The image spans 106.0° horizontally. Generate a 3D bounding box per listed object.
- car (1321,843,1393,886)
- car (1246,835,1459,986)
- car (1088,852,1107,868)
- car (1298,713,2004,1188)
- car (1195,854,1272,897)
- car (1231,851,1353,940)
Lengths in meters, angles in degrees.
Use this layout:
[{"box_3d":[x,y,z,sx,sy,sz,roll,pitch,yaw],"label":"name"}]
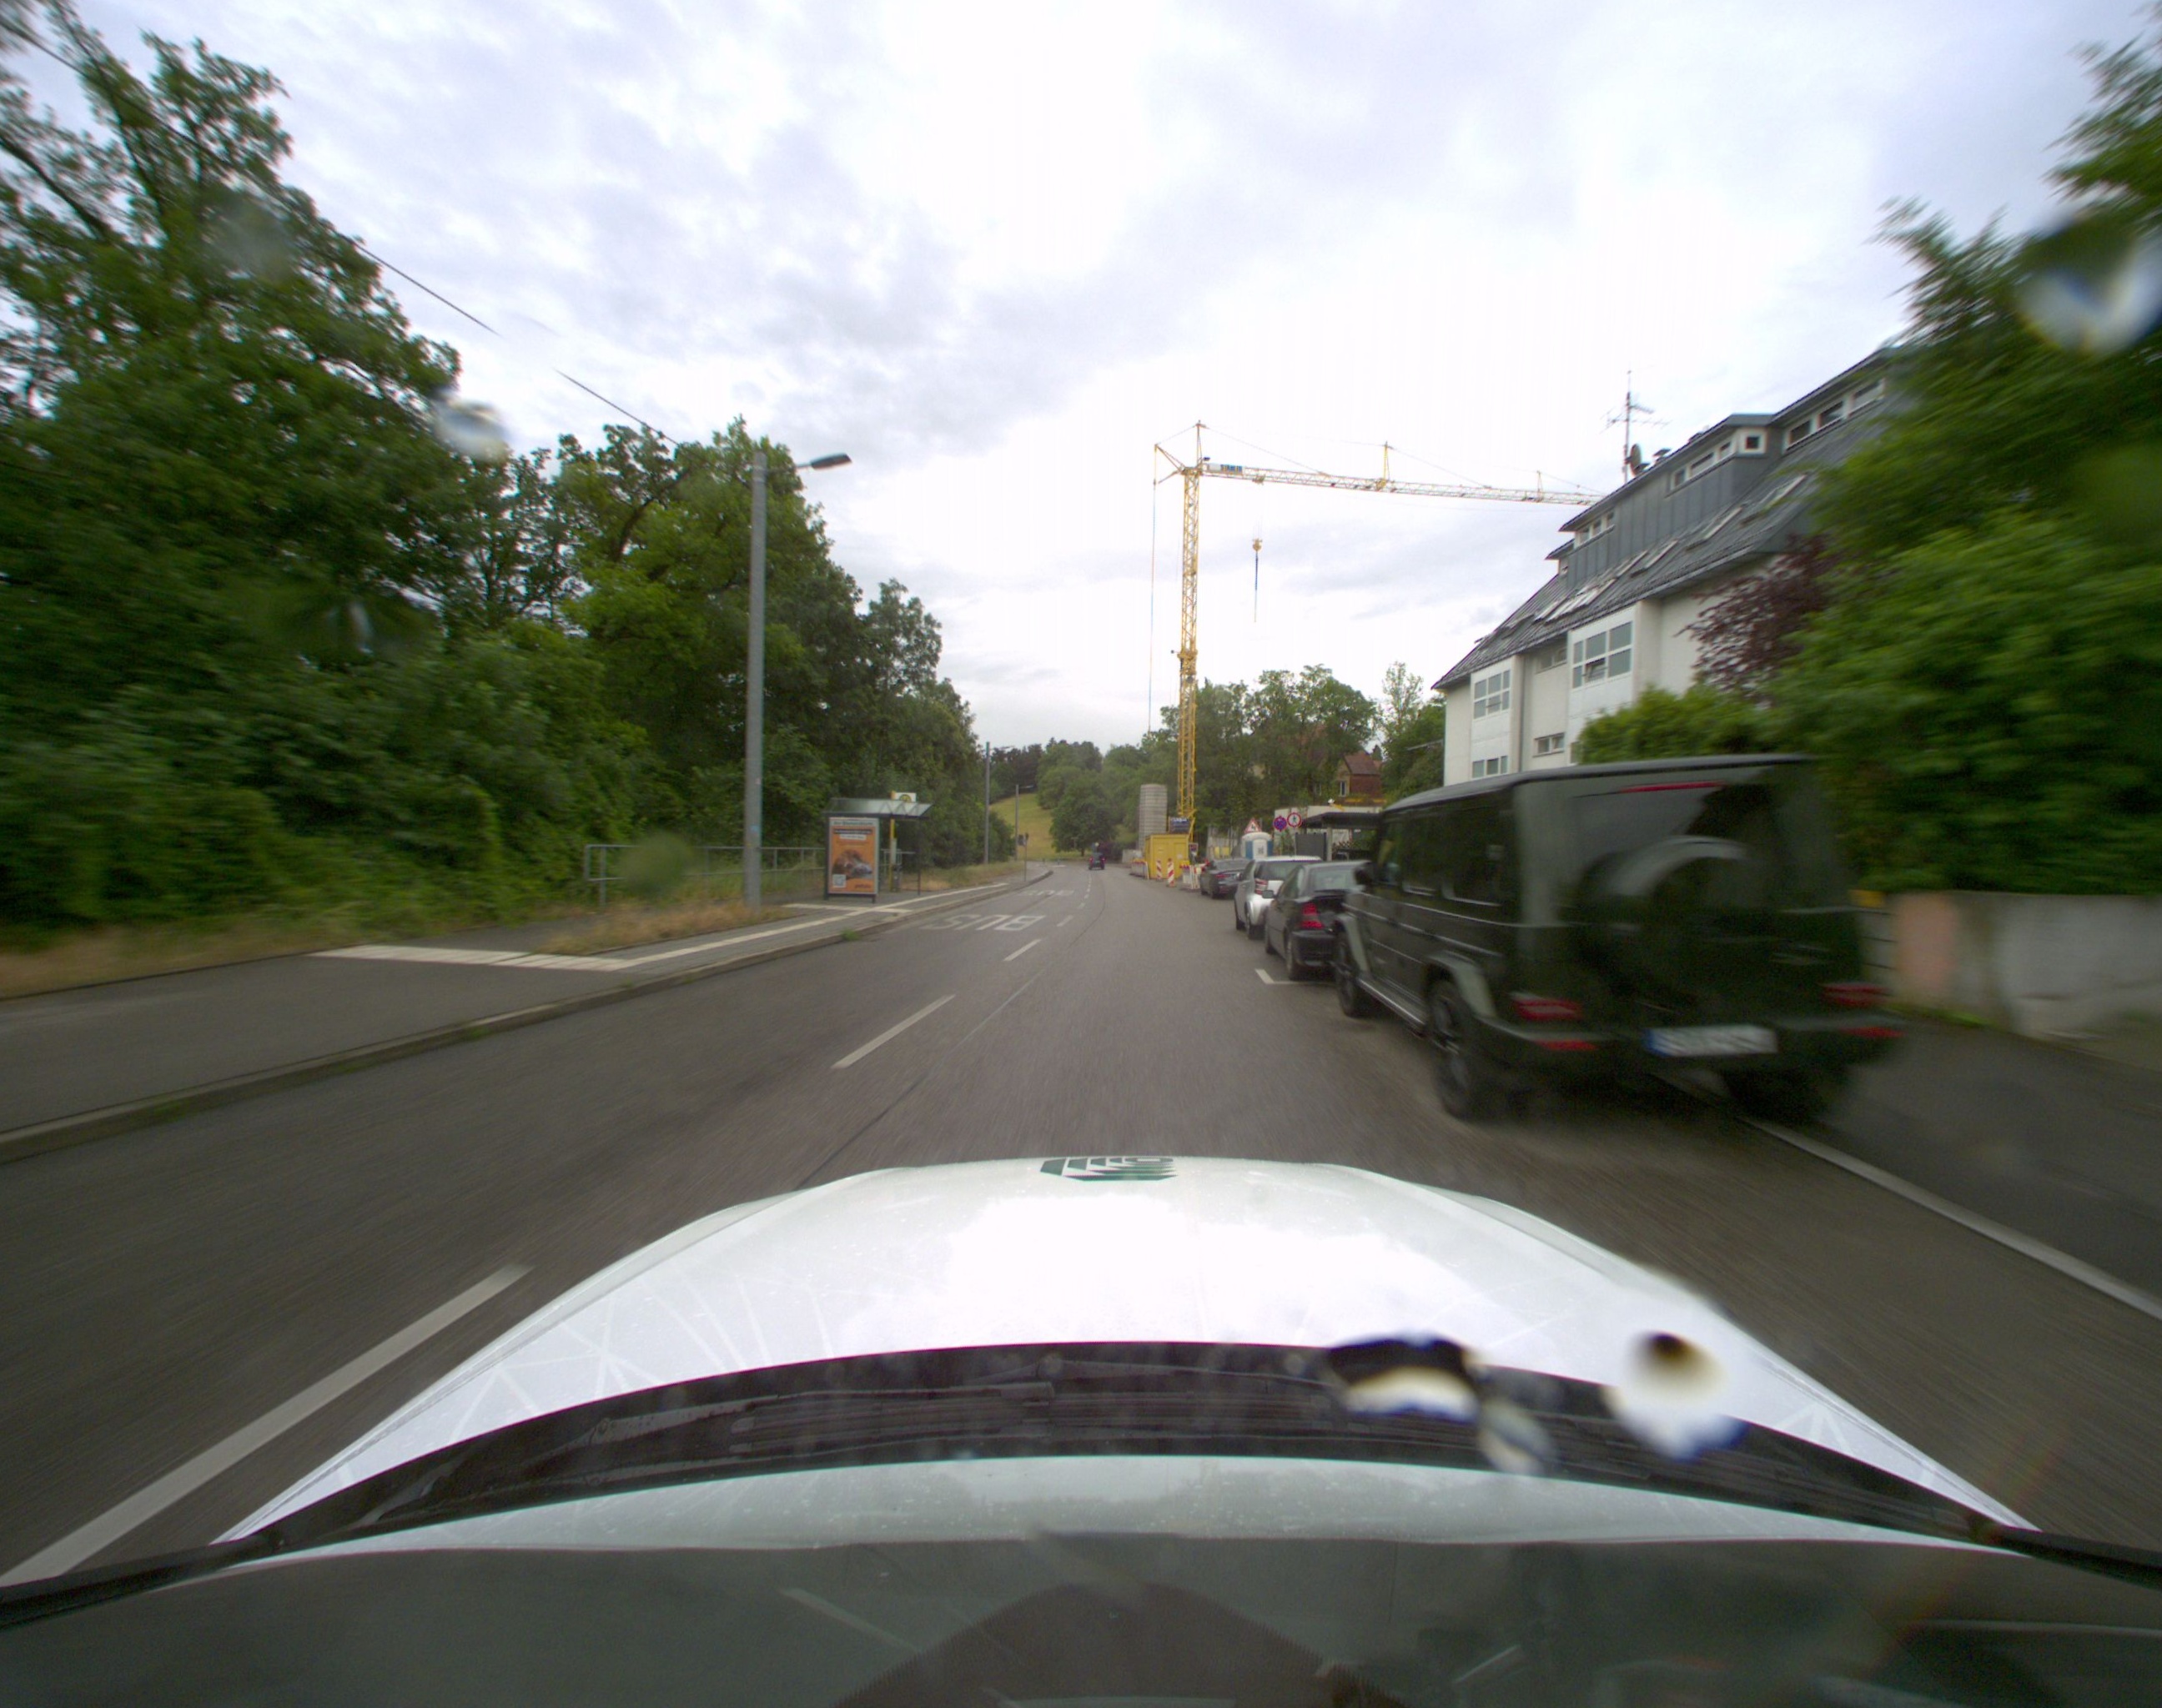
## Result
[{"box_3d":[10.731,0.383,31.961,1.687,1.472,4.005,3,0,4],"label":"car"},{"box_3d":[3.392,0.636,11.086,1.921,1.596,4.404,-2,-1,8],"label":"car"},{"box_3d":[1.847,0.658,91.714,1.927,1.751,3.996,-1,0,-2],"label":"car"},{"box_3d":[3.107,0.438,6.013,1.984,2.013,4.963,-2,0,4],"label":"car"},{"box_3d":[5.429,0.725,29.583,1.925,1.422,4.837,0,0,0],"label":"car"},{"box_3d":[3.823,0.698,15.259,1.665,1.457,3.390,-1,0,5],"label":"car"}]
